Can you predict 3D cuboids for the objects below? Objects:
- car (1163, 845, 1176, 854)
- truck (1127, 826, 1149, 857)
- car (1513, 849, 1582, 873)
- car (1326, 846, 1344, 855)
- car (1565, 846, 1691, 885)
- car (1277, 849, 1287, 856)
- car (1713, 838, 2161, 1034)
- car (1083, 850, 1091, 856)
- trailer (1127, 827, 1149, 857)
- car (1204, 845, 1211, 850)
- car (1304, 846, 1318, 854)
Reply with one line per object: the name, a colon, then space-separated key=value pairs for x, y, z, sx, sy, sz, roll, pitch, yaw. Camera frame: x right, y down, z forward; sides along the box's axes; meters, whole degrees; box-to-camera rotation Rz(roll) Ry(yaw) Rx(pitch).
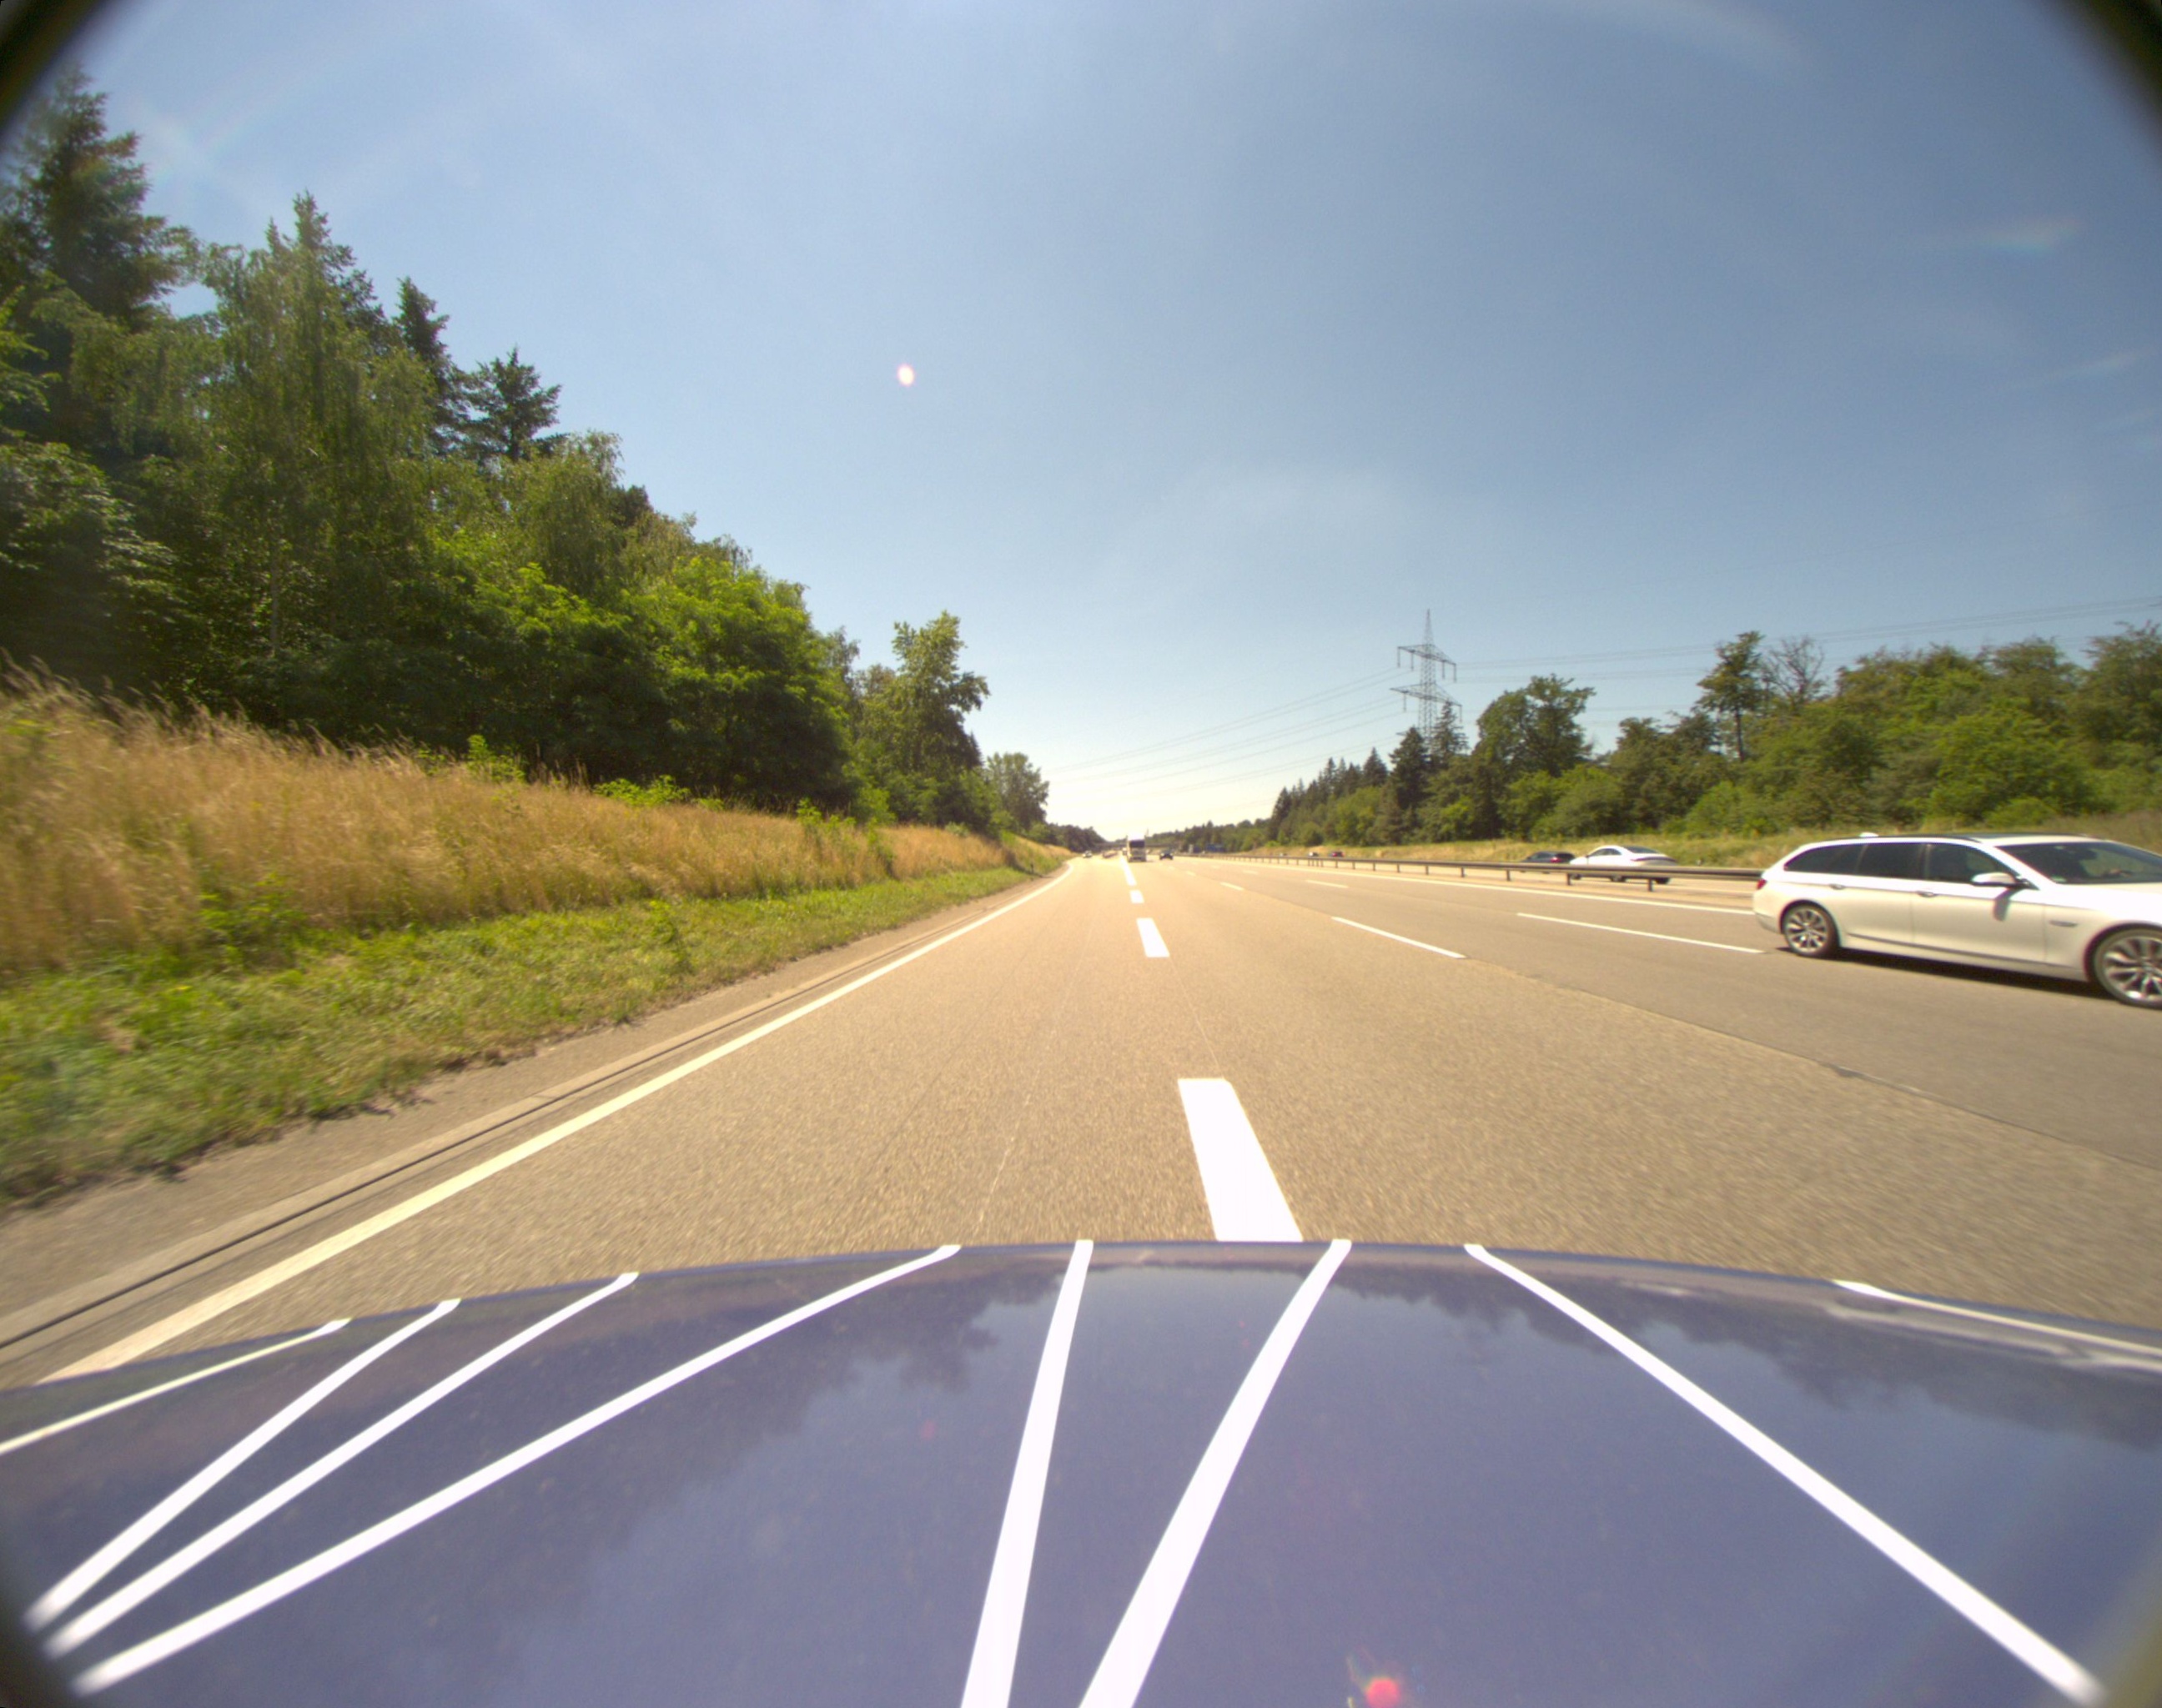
car: x=14.218 y=-0.761 z=122.032 sx=1.898 sy=1.417 sz=4.262 roll=-2 pitch=1 yaw=5
truck: x=7.904 y=-1.643 z=104.956 sx=2.979 sy=4.118 sz=5.350 roll=-1 pitch=0 yaw=5
car: x=29.927 y=0.419 z=48.926 sx=1.695 sy=1.383 sz=4.676 roll=1 pitch=1 yaw=3
car: x=41.148 y=-0.546 z=123.222 sx=1.793 sy=1.412 sz=4.436 roll=-2 pitch=1 yaw=4
car: x=21.250 y=0.389 z=29.798 sx=1.695 sy=1.383 sz=4.676 roll=1 pitch=1 yaw=3
car: x=46.611 y=-0.402 z=176.194 sx=1.625 sy=1.469 sz=3.567 roll=-1 pitch=1 yaw=3
car: x=9.581 y=0.611 z=7.762 sx=1.968 sy=1.495 sz=5.405 roll=-2 pitch=1 yaw=3
car: x=1.739 y=-0.276 z=212.675 sx=1.898 sy=1.417 sz=4.262 roll=-2 pitch=1 yaw=5
trailer: x=8.391 y=-1.671 z=110.595 sx=2.981 sy=4.118 sz=11.699 roll=-1 pitch=0 yaw=5
car: x=36.637 y=-1.981 z=219.891 sx=1.566 sy=1.348 sz=3.567 roll=-1 pitch=1 yaw=3
car: x=44.804 y=-0.756 z=147.997 sx=1.562 sy=1.518 sz=4.000 roll=-2 pitch=1 yaw=4
